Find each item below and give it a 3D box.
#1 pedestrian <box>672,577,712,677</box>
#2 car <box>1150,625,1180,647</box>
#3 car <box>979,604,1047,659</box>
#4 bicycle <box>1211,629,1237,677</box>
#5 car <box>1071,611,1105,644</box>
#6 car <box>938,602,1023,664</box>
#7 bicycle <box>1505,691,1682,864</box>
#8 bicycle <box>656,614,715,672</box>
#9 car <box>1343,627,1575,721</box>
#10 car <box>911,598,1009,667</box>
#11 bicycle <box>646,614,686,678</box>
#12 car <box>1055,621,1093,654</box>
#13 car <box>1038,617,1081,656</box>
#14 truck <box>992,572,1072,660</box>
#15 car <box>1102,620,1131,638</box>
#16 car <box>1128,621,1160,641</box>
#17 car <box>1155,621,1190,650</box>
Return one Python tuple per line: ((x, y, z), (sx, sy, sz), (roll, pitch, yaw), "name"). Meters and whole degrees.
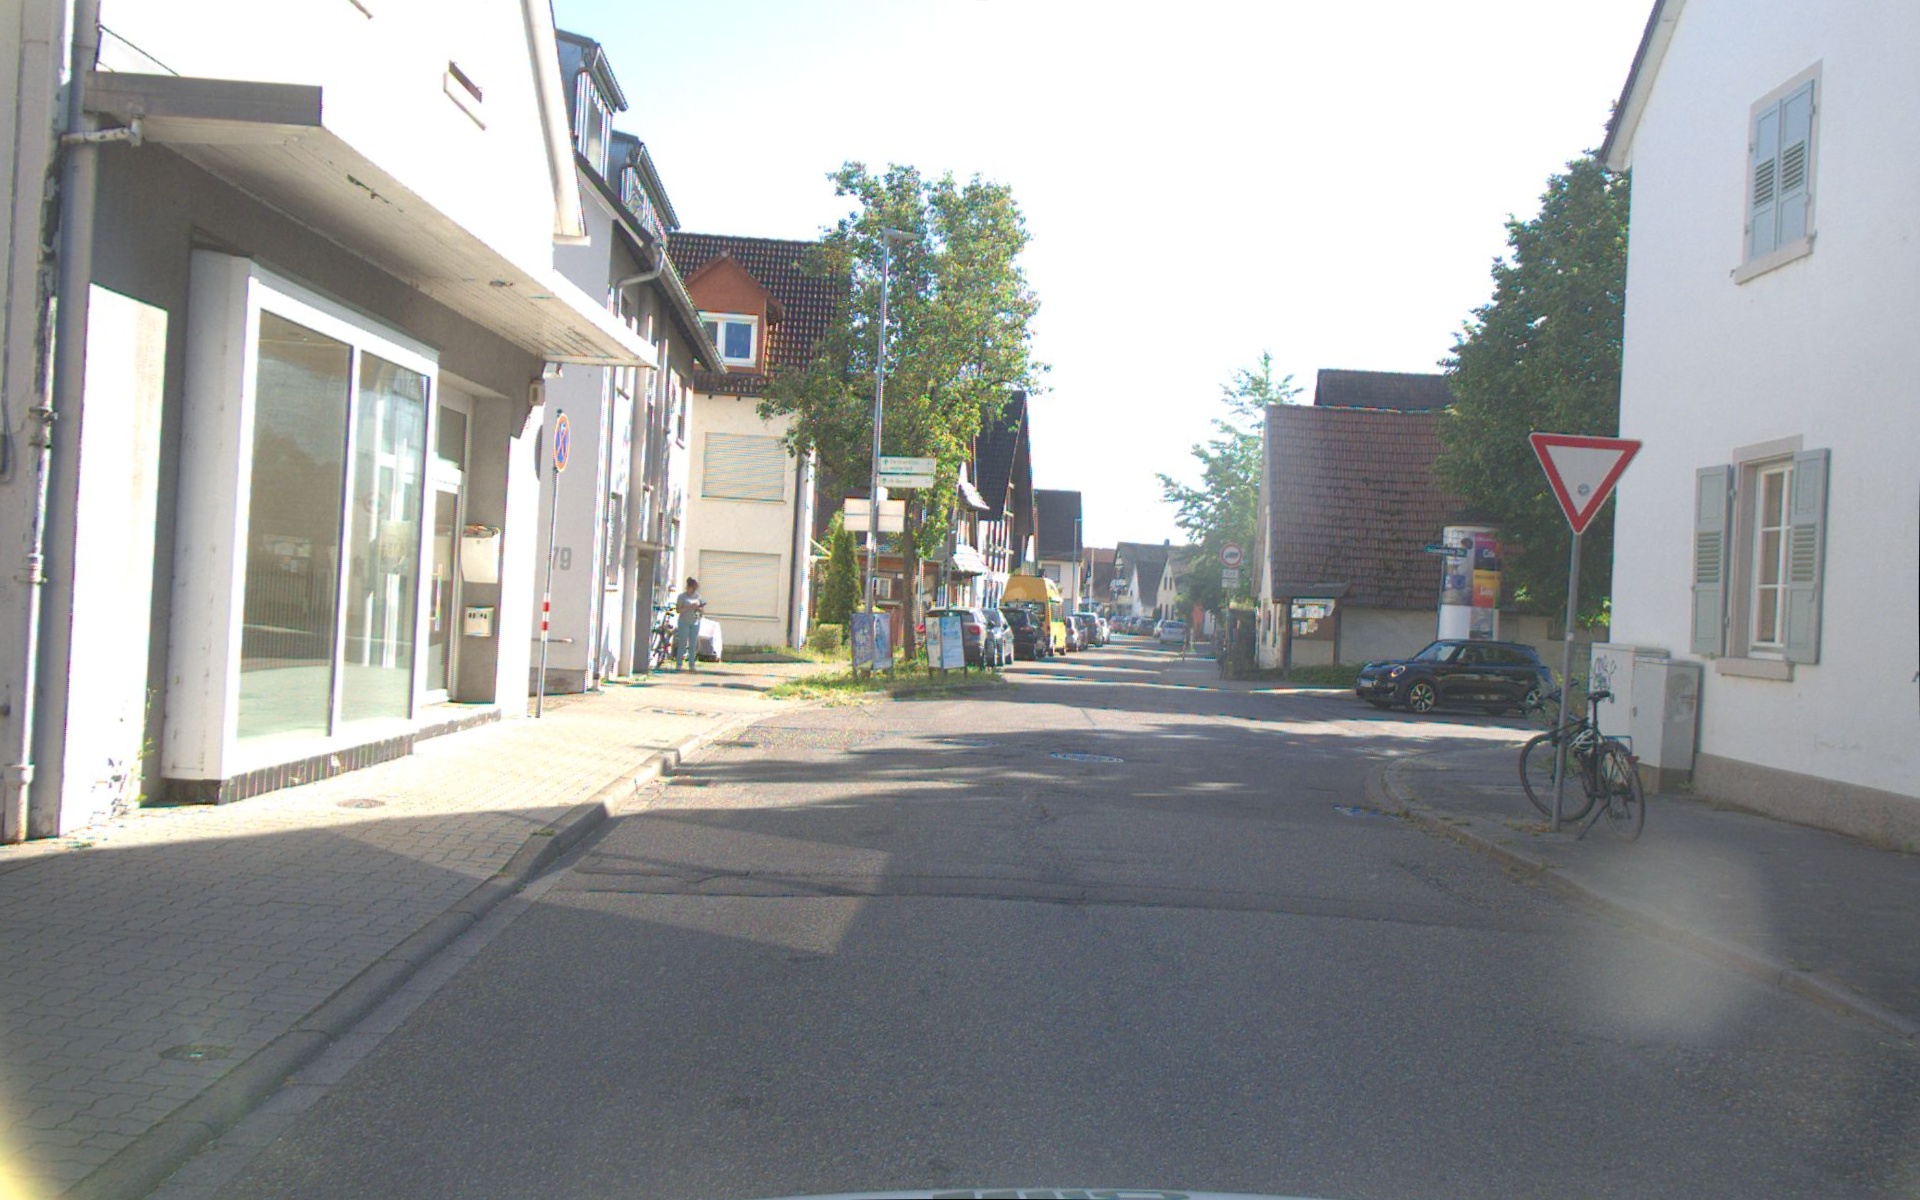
((-4.752, 0.482, 29.350), (0.473, 1.722, 0.557), (3, -2, 3), "pedestrian")
((16.943, 2.974, 136.943), (1.933, 1.610, 3.995), (4, -1, 1), "car")
((1.788, 1.054, 54.471), (1.768, 1.650, 3.883), (3, -1, 8), "car")
((6.788, 1.354, 42.432), (0.424, 1.197, 1.830), (3, -1, 15), "bicycle")
((6.356, 1.362, 82.035), (1.555, 1.468, 3.616), (4, -1, 5), "car")
((0.617, 0.921, 45.607), (1.768, 1.532, 4.110), (3, -1, 8), "car")
((4.724, 1.290, 12.463), (0.426, 1.098, 1.888), (2, 0, -5), "bicycle")
((-5.390, 0.858, 32.585), (0.566, 1.071, 2.037), (3, -2, 6), "bicycle")
((9.620, 1.423, 31.969), (3.914, 1.503, 1.662), (4, -1, -10), "car")
((0.052, 0.822, 41.249), (1.828, 1.532, 4.110), (3, -1, 8), "car")
((-5.184, 0.810, 29.174), (0.414, 1.071, 1.381), (3, -2, -1), "bicycle")
((5.079, 1.651, 73.460), (1.555, 1.359, 3.616), (4, -1, 5), "car")
((4.181, 1.504, 68.895), (1.611, 1.457, 3.616), (4, -1, 5), "car")
((2.663, 0.620, 59.744), (2.220, 2.918, 5.786), (3, -1, 8), "truck")
((15.046, 2.772, 158.792), (1.936, 1.610, 3.989), (4, -1, -6), "car")
((16.541, 2.785, 148.527), (1.936, 1.610, 3.989), (4, -1, -6), "car")
((13.580, 2.265, 105.857), (1.932, 1.743, 3.997), (4, -1, 5), "car")
